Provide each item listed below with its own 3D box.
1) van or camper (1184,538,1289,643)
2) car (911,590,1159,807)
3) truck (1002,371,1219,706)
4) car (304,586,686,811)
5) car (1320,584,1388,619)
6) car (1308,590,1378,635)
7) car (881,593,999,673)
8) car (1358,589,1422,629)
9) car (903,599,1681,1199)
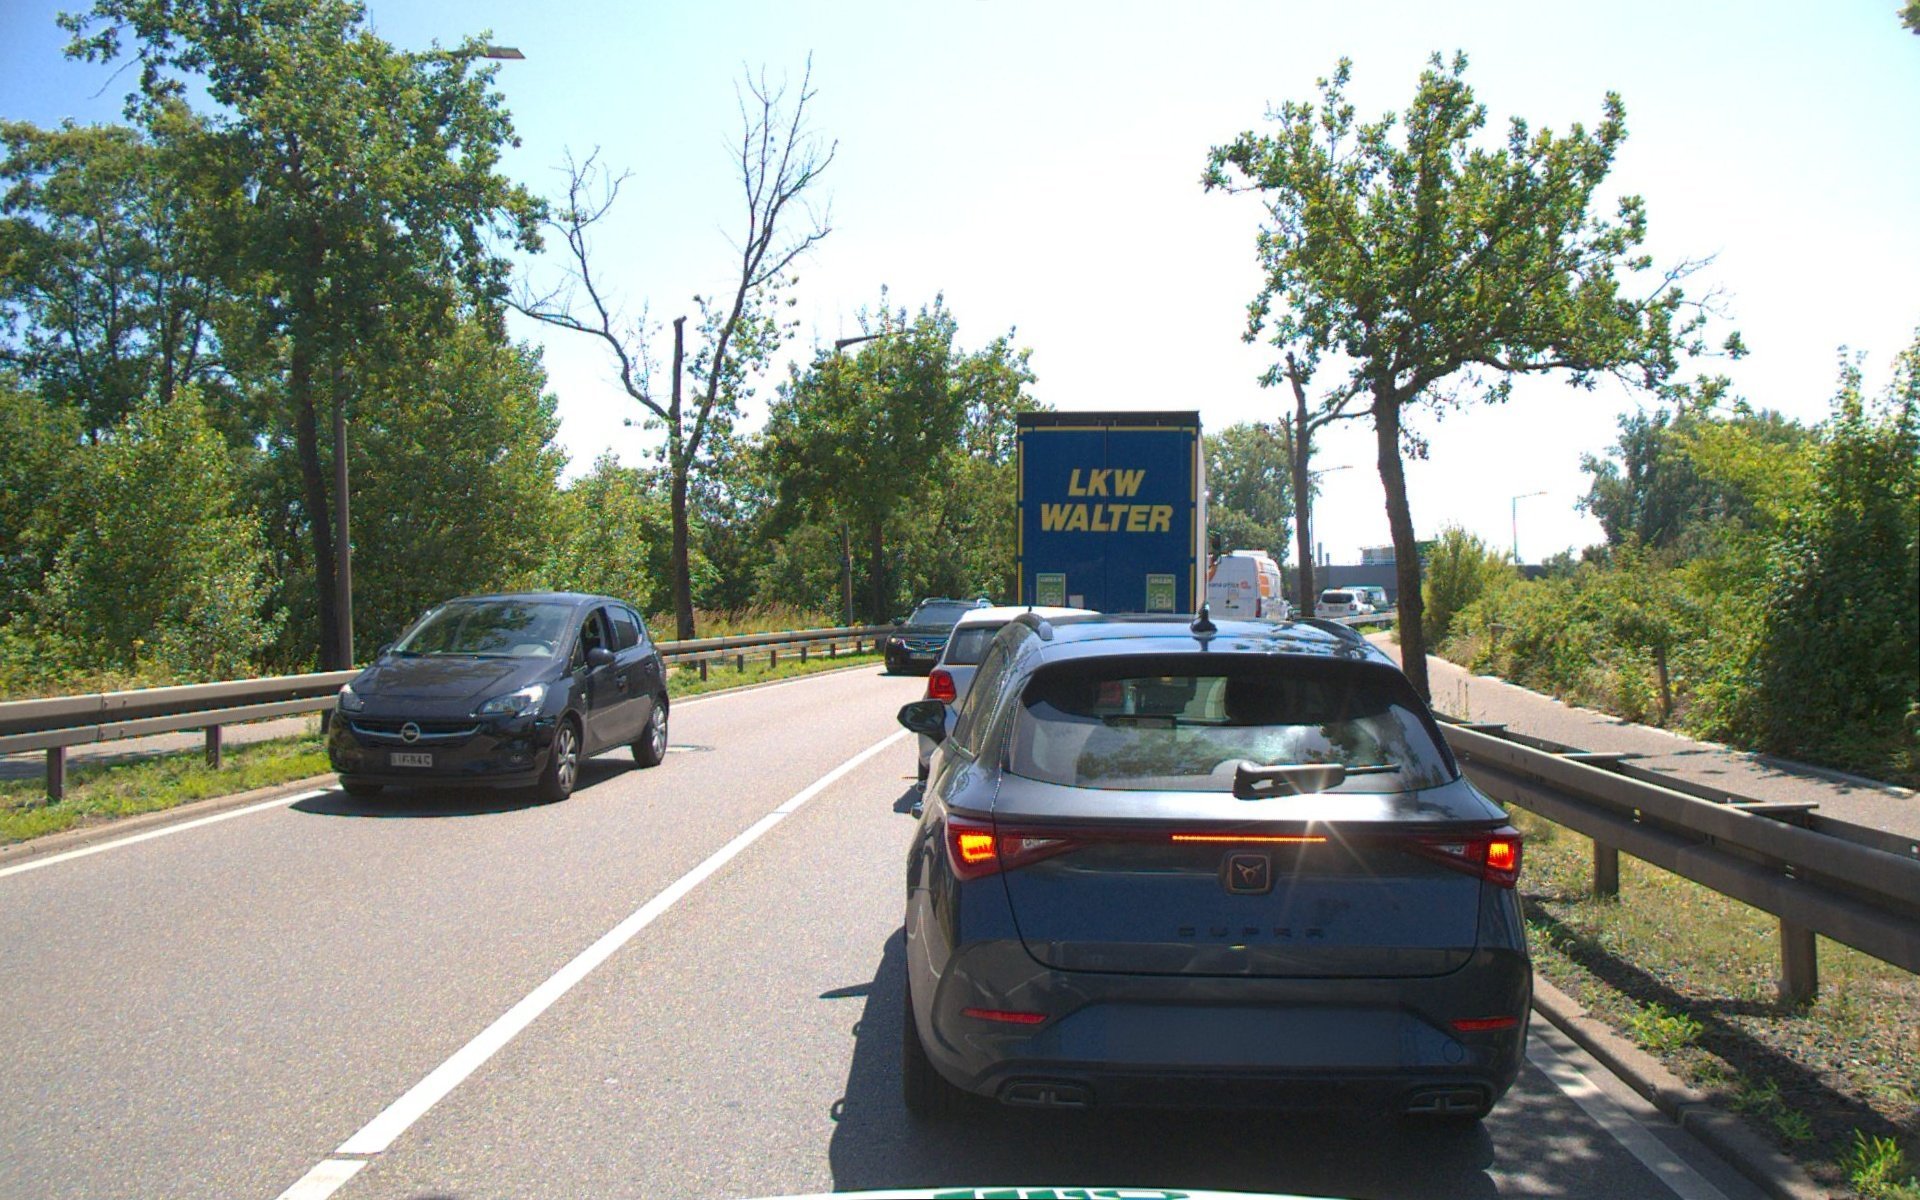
[{"bbox_3d":[8.670,-0.285,51.352,2.414,3.051,6.089,1,0,17],"label":"van or camper"},{"bbox_3d":[0.544,0.711,13.928,1.772,1.534,4.000,1,0,0],"label":"car"},{"bbox_3d":[3.211,-0.841,30.884,2.887,4.526,16.811,1,0,8],"label":"truck"},{"bbox_3d":[-3.472,0.666,13.105,1.635,1.491,3.822,1,0,5],"label":"car"},{"bbox_3d":[20.325,0.097,85.219,2.090,1.710,4.869,1,0,31],"label":"car"},{"bbox_3d":[15.573,0.506,67.143,1.953,1.742,4.618,1,0,23],"label":"car"},{"bbox_3d":[-0.331,0.595,32.821,1.820,1.445,4.260,1,0,6],"label":"car"},{"bbox_3d":[20.785,0.433,79.817,1.955,1.840,4.840,1,0,27],"label":"car"},{"bbox_3d":[0.724,0.738,5.593,1.708,1.457,3.879,1,0,0],"label":"car"}]
